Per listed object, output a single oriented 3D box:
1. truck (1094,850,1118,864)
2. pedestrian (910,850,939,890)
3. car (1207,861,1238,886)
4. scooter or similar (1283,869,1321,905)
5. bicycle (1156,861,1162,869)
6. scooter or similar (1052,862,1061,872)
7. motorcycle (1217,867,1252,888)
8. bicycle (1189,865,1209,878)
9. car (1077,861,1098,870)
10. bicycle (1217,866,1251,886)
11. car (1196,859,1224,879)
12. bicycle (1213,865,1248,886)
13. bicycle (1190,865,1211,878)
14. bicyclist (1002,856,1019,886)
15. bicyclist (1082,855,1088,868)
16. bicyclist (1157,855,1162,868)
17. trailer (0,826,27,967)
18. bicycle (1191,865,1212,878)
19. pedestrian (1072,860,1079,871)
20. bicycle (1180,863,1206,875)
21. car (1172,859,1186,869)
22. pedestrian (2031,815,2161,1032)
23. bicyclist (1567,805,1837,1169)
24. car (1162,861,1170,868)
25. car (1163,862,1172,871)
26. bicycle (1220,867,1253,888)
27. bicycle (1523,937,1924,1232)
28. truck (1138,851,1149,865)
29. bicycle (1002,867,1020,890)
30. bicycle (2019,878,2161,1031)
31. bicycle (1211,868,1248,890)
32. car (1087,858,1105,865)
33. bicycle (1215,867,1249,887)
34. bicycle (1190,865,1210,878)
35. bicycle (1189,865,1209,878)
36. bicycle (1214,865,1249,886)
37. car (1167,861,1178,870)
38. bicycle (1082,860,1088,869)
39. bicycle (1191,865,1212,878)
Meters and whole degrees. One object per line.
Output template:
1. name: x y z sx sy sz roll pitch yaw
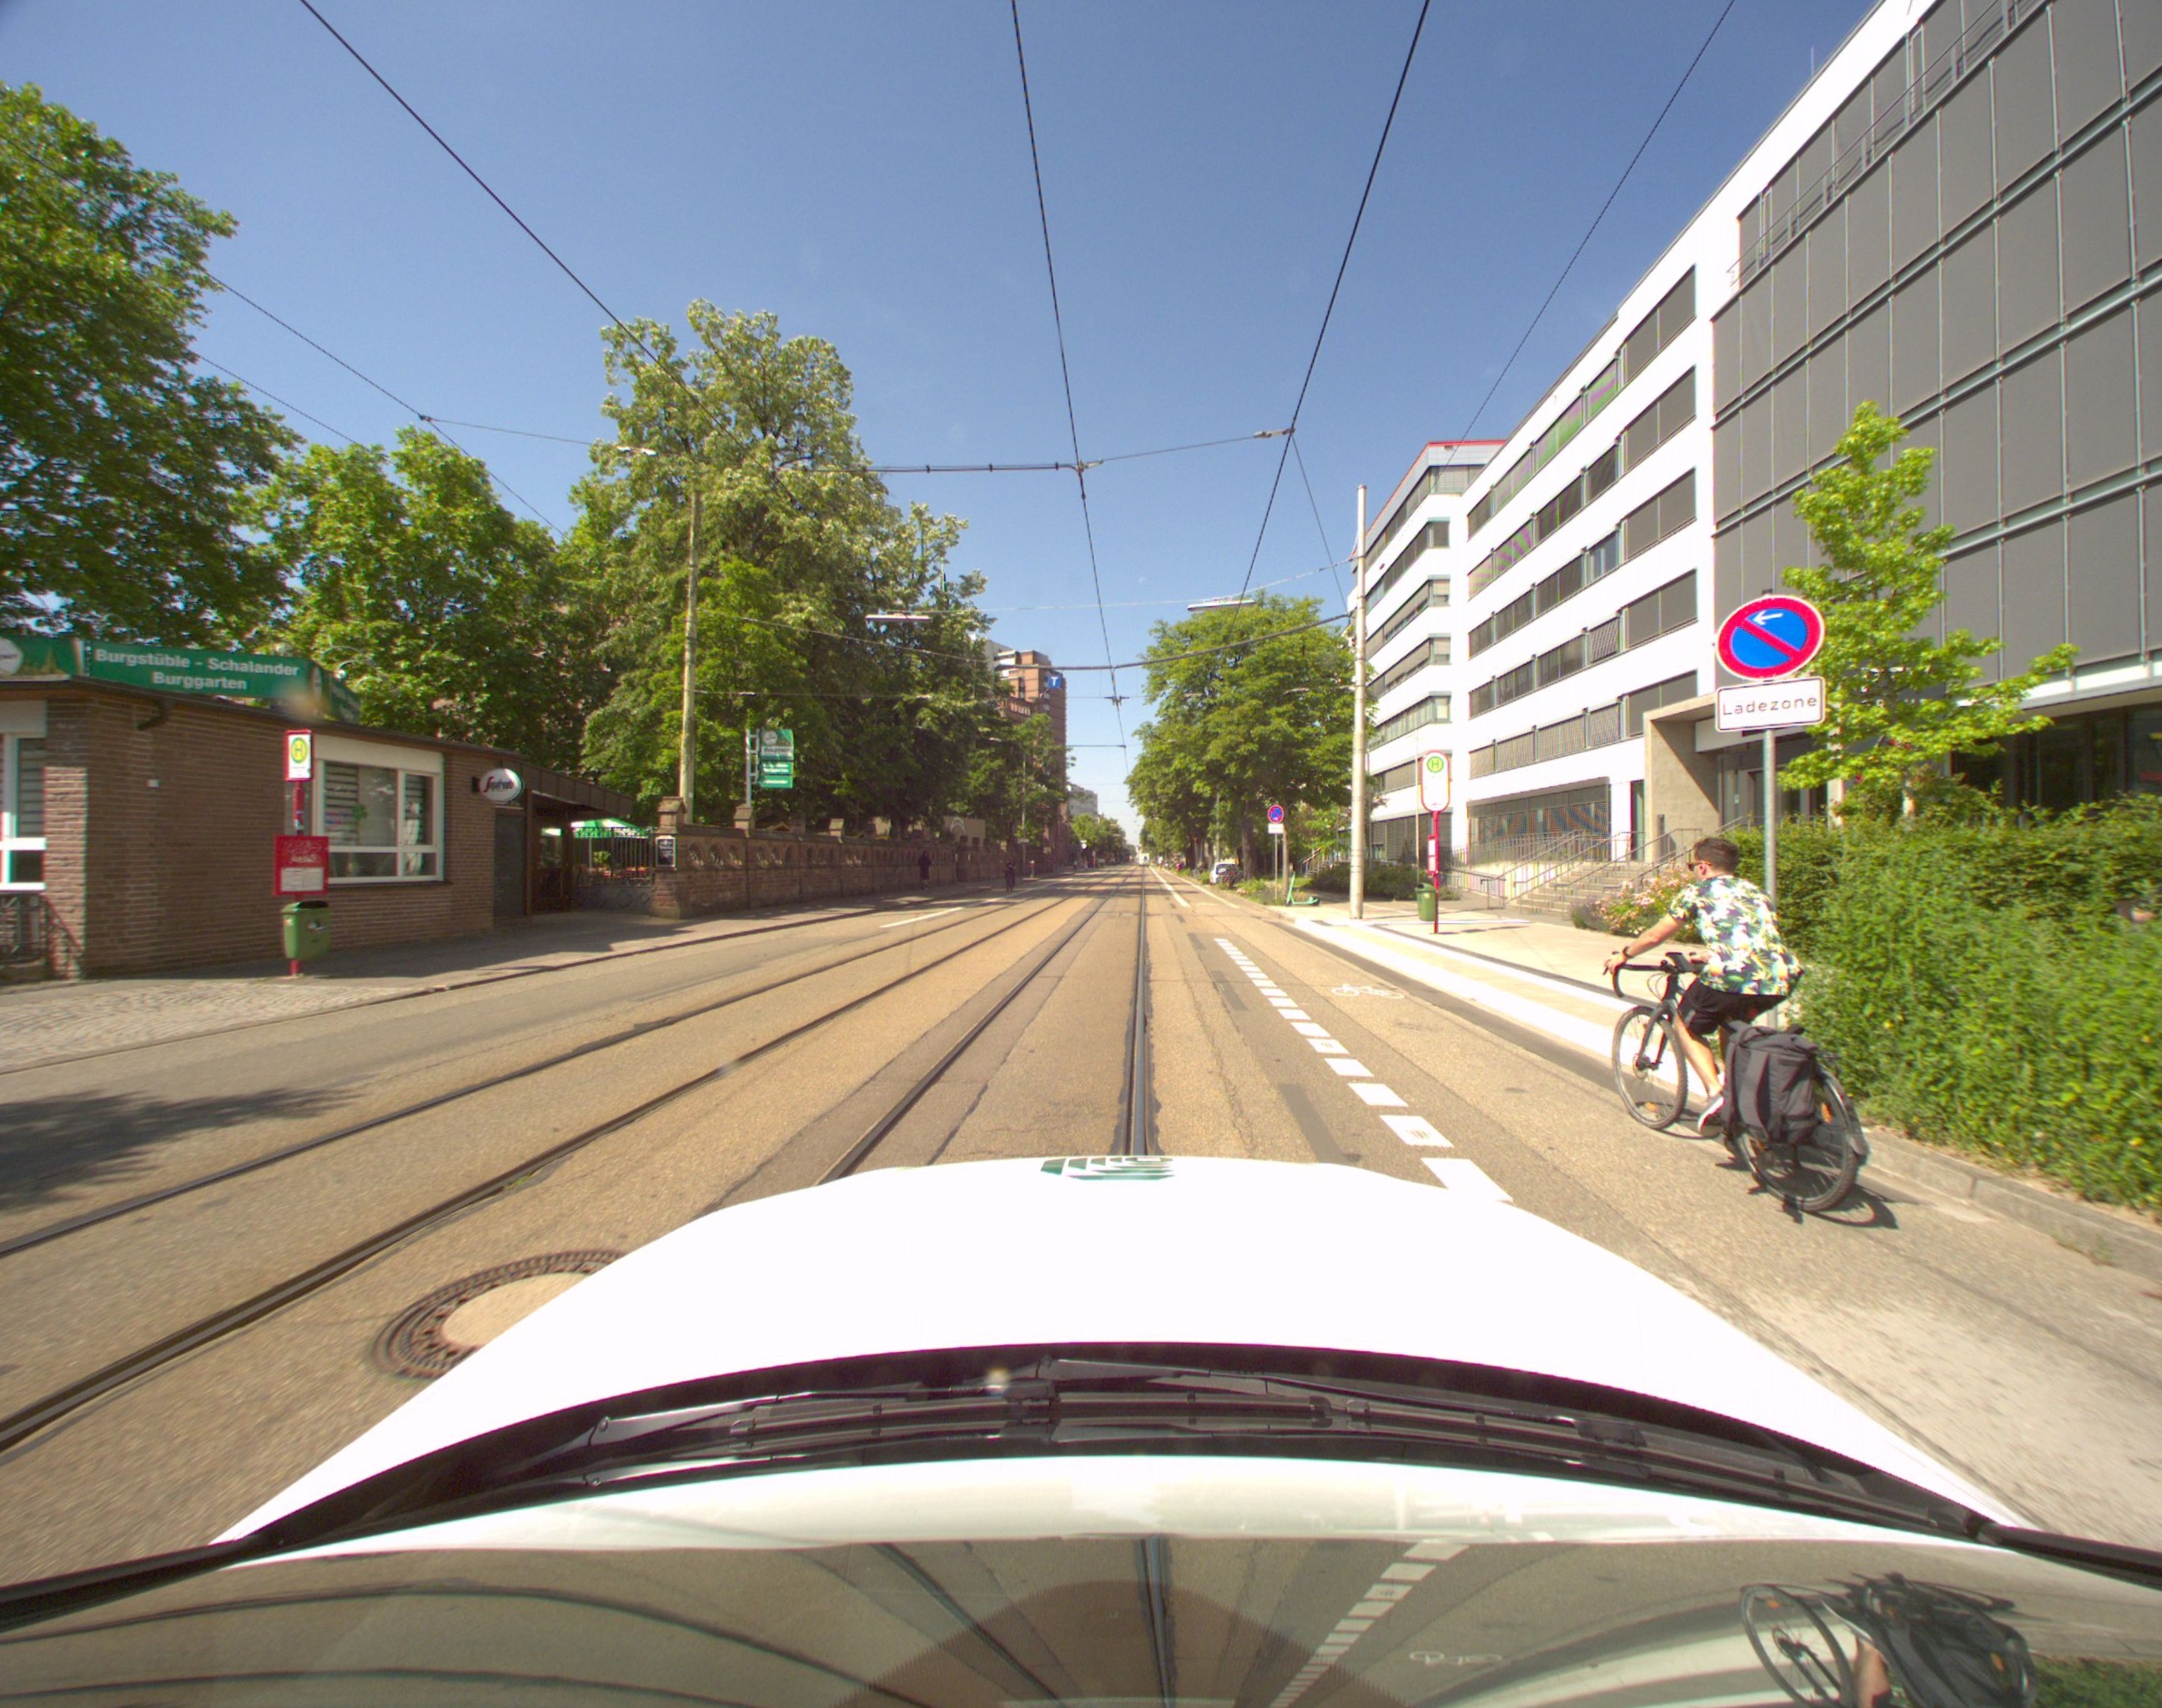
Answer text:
1. truck: 7.126 0.846 231.819 2.787 3.859 10.058 -1 -1 26
2. pedestrian: -7.525 0.764 39.104 0.972 1.816 1.186 4 0 5
3. car: 8.783 1.198 50.652 1.622 1.472 3.636 0 -1 5
4. scooter or similar: 7.256 1.070 26.803 1.120 1.166 0.677 0 -1 6
5. bicycle: 11.522 1.597 119.848 0.852 1.110 2.141 0 0 4
6. scooter or similar: -2.847 1.476 94.902 0.329 1.129 1.193 -1 -1 43
7. motorcycle: 8.056 1.246 42.723 1.717 1.086 0.659 0 -1 3
8. bicycle: 10.424 1.535 71.911 1.717 1.086 0.479 0 -1 3
9. car: 1.310 2.464 170.120 4.015 1.811 1.870 0 -1 -33
10. bicycle: 8.440 1.199 44.994 1.785 1.086 0.727 0 -1 3
11. car: 9.881 1.156 62.705 1.623 1.483 4.276 0 0 3
12. bicycle: 8.568 1.215 46.846 1.896 1.169 0.820 0 -1 3
13. bicycle: 10.058 1.479 68.419 1.717 1.086 0.629 0 -1 3
14. bicyclist: -3.664 0.868 42.379 0.737 1.531 0.948 0 -1 5
15. bicyclist: 0.518 1.009 107.809 0.722 1.698 1.148 0 -1 4
16. bicyclist: 11.544 1.105 120.042 0.633 1.871 1.025 0 -1 4
17. trailer: -13.933 0.467 8.709 3.258 1.603 1.726 0 -1 5
18. bicycle: 10.305 1.486 69.713 1.717 1.086 0.571 0 -1 3
19. pedestrian: -0.853 1.715 121.593 0.881 1.512 1.473 0 -1 -4
20. bicycle: 12.727 1.738 92.551 3.011 1.332 1.043 0 -1 7
21. car: 13.362 1.361 111.565 1.623 1.355 3.904 0 0 2
22. pedestrian: 8.110 0.491 6.144 0.684 1.563 0.988 -2 -1 0
23. bicyclist: 3.272 0.636 4.398 0.713 1.724 0.988 1 0 3
24. car: 18.471 2.373 176.629 1.622 1.472 4.119 0 0 5
25. car: 16.045 2.316 151.085 1.622 1.472 4.119 0 0 5
26. bicycle: 8.408 1.265 44.107 1.717 1.086 0.640 0 -1 3
27. bicycle: 3.218 1.051 4.422 0.606 0.984 2.166 0 0 4
28. truck: 13.644 0.847 176.910 2.391 3.109 6.044 0 0 4
29. bicycle: -3.646 1.265 42.418 0.589 1.105 2.057 0 0 5
30. bicycle: 8.408 0.764 6.032 0.633 1.117 2.069 0 0 4
31. bicycle: 7.398 1.251 40.540 1.717 1.086 0.790 0 -1 3
32. car: 3.669 1.972 203.011 4.008 1.750 1.983 0 -1 -26
33. bicycle: 8.438 1.275 45.524 1.841 1.132 0.681 0 -1 3
34. bicycle: 10.278 1.486 70.298 1.717 1.086 0.590 0 -1 3
35. bicycle: 10.313 1.526 71.376 1.717 1.086 0.615 0 -1 3
36. bicycle: 8.514 1.230 46.201 1.864 1.141 0.686 0 -1 3
37. car: 14.989 1.928 133.208 1.622 1.472 4.118 0 -1 5
38. bicycle: 0.484 1.363 107.774 0.659 1.154 2.016 0 0 5
39. bicycle: 10.219 1.483 69.069 1.717 1.086 0.697 0 -1 3
